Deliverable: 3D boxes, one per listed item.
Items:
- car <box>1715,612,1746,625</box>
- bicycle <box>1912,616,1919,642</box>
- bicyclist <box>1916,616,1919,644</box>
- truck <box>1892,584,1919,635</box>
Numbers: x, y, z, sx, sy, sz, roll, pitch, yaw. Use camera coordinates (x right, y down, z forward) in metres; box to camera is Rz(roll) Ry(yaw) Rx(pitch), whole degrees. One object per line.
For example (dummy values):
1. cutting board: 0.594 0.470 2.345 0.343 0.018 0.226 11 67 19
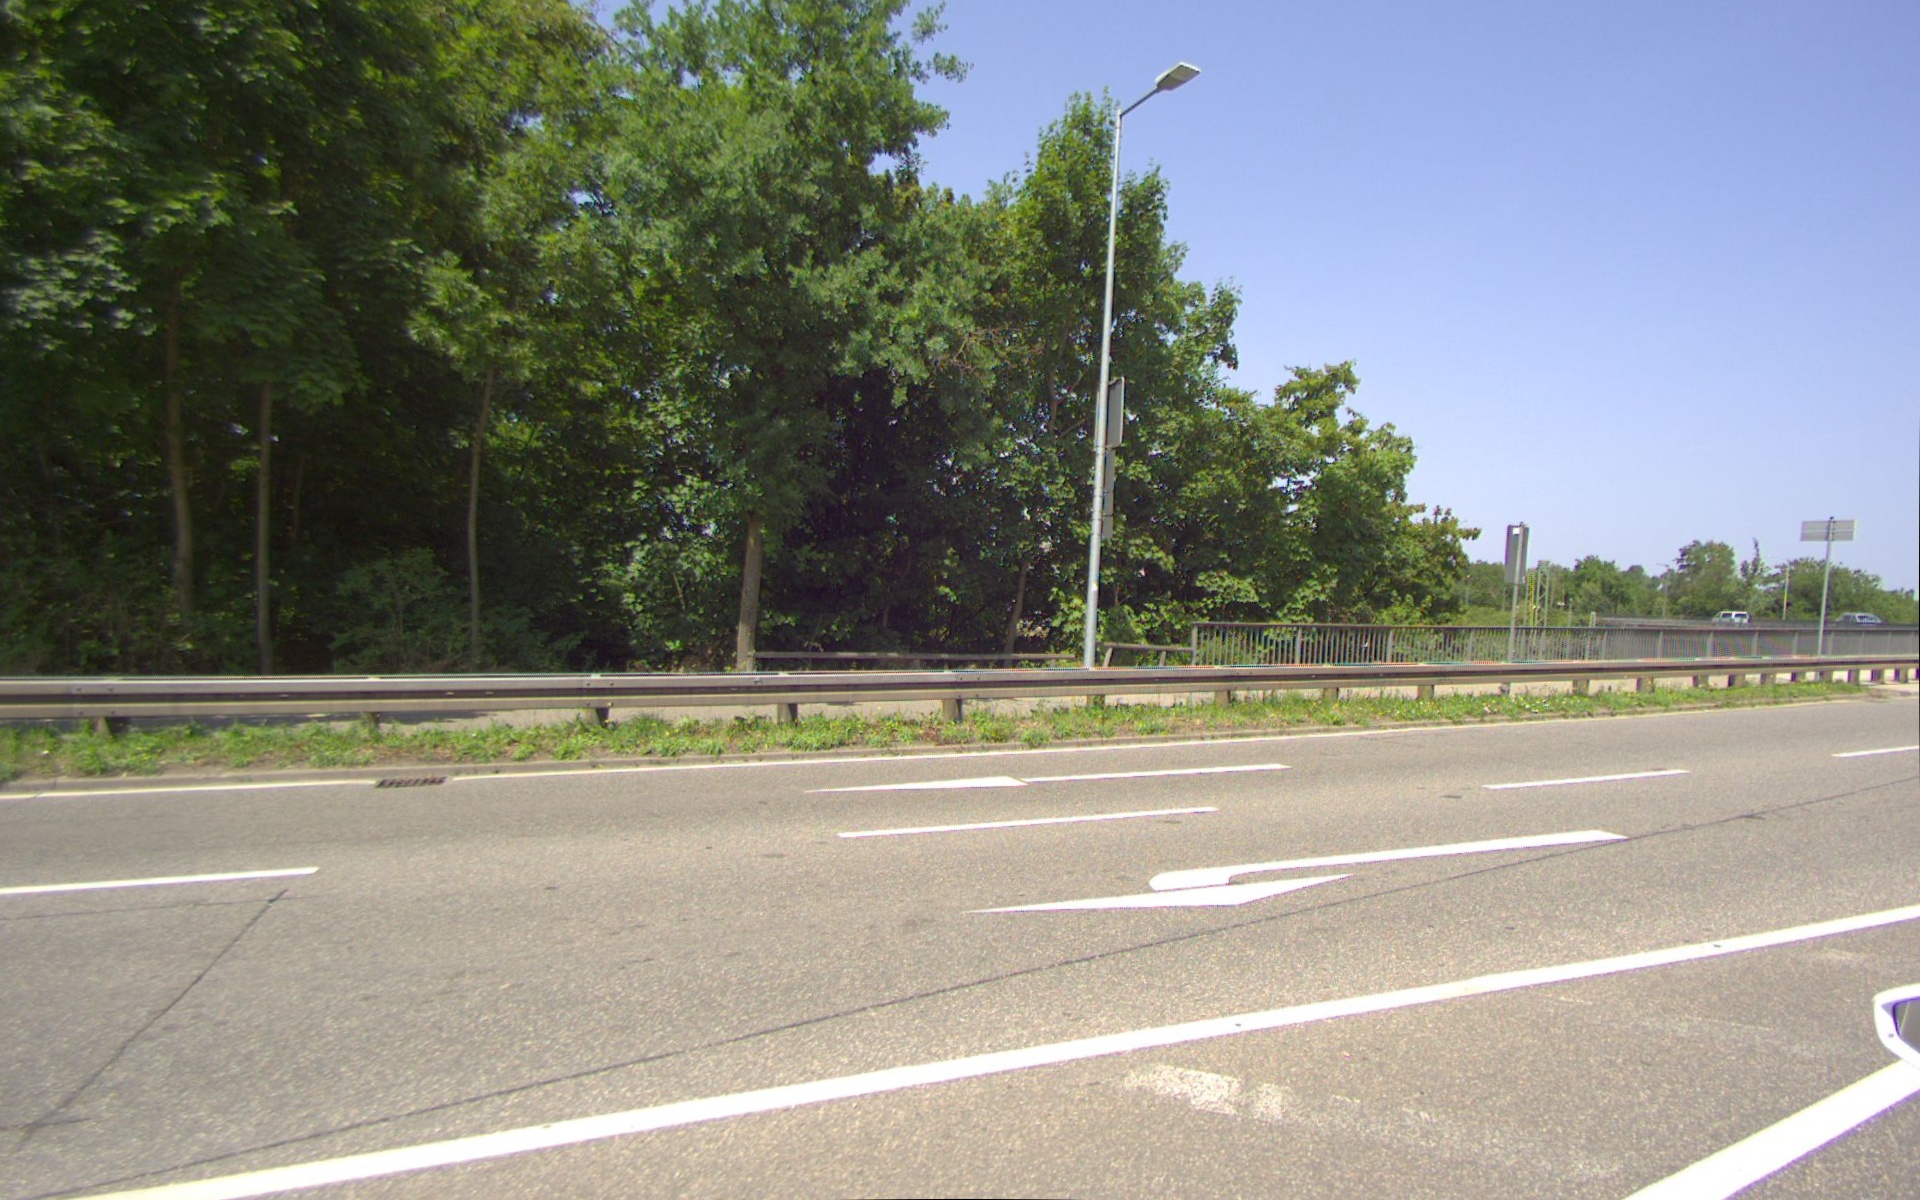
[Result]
1. car: 94.784 2.238 123.581 1.532 1.405 3.617 2 1 11
2. bicycle: 68.222 2.088 71.033 0.688 1.826 2.177 2 1 30
3. bicyclist: 68.275 2.131 71.126 0.615 1.911 0.711 2 1 28
4. truck: 77.841 0.814 80.269 2.662 4.045 6.183 2 1 21
